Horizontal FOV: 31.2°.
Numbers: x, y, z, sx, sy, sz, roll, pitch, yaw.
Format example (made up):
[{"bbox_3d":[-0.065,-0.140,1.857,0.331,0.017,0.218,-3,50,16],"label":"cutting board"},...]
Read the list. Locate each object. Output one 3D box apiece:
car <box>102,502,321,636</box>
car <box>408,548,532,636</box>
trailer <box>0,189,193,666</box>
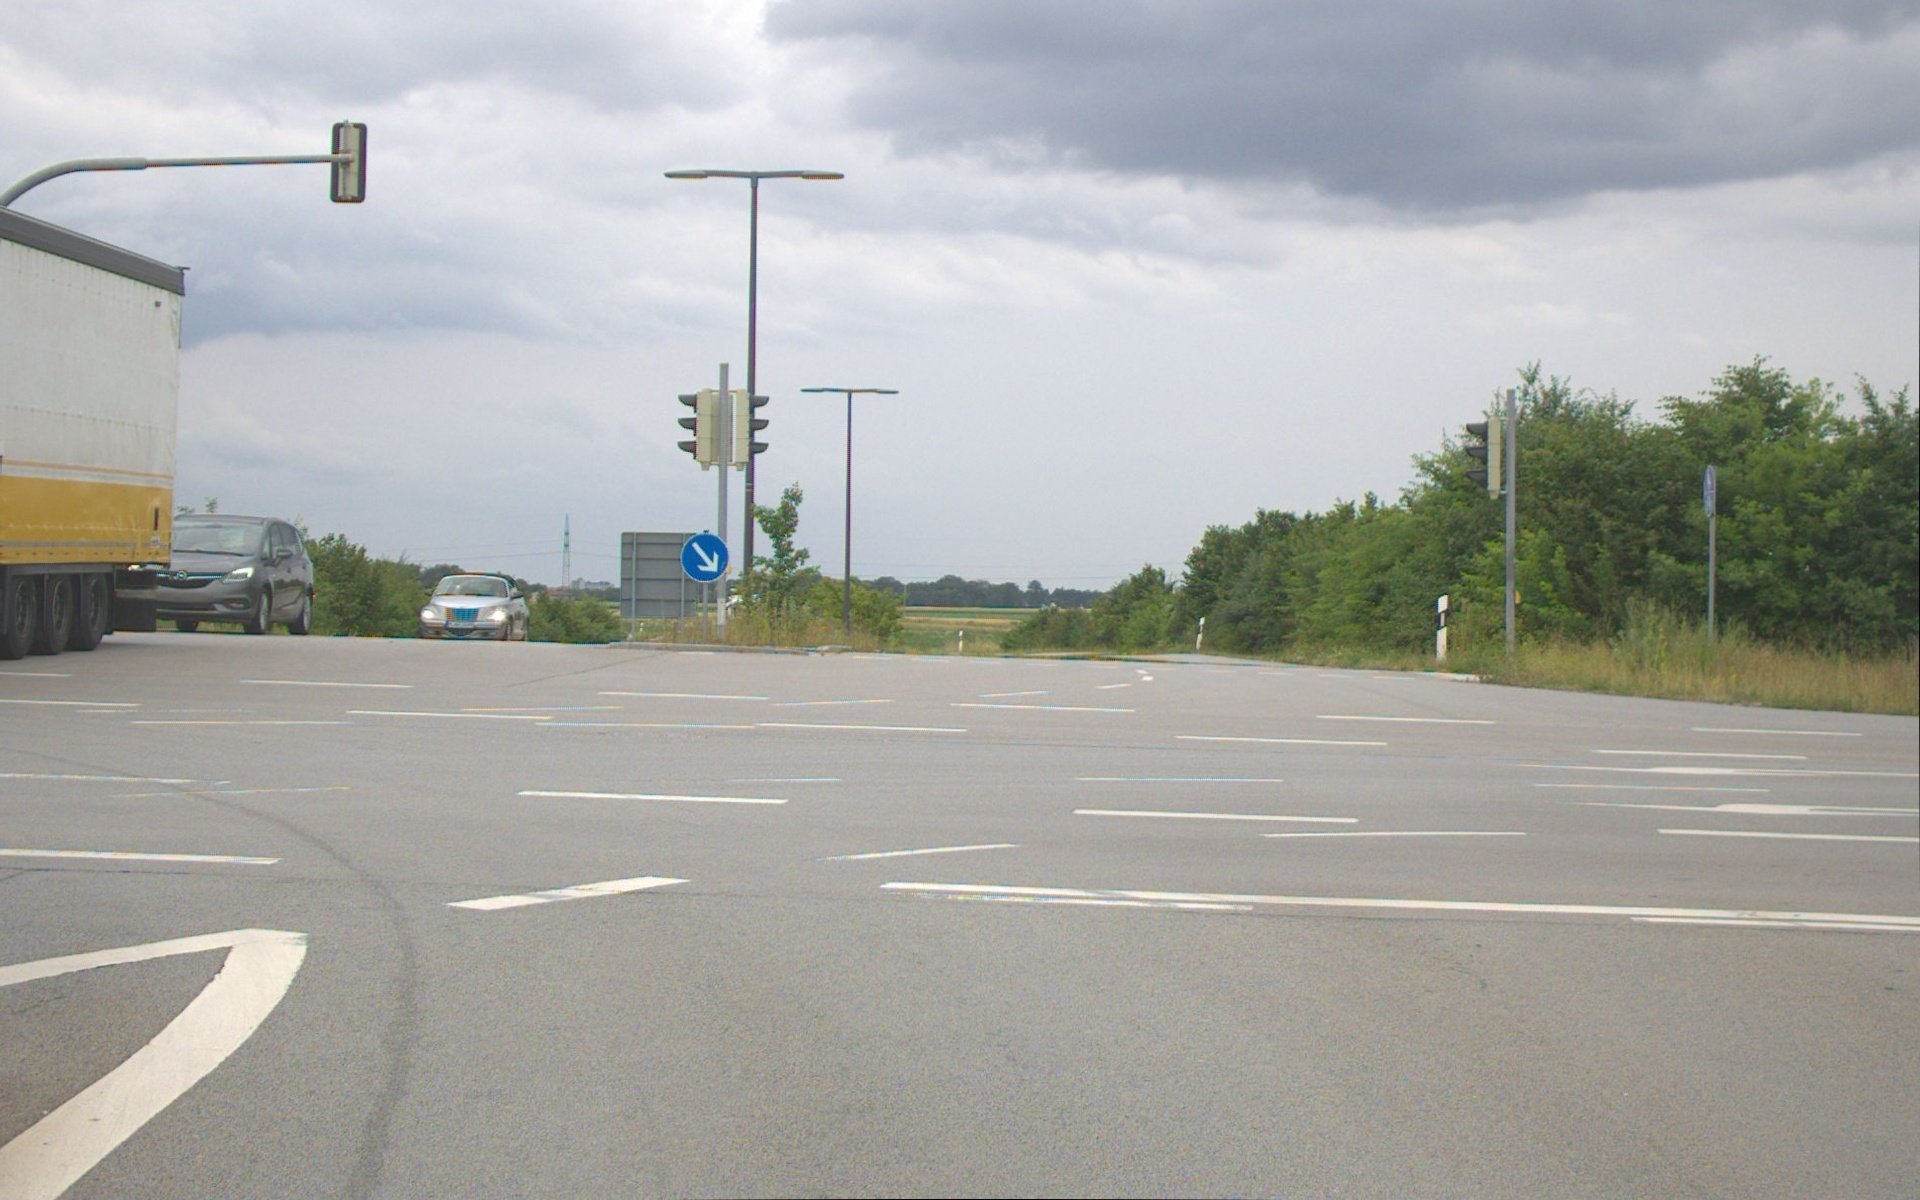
[{"bbox_3d":[-10.009,-0.415,46.295,1.993,1.688,4.455,1,1,-1],"label":"car"},{"bbox_3d":[-9.455,-0.182,66.619,1.810,1.515,4.243,2,2,-1],"label":"car"},{"bbox_3d":[-9.811,-1.537,30.699,2.692,4.196,13.841,1,1,0],"label":"trailer"}]
